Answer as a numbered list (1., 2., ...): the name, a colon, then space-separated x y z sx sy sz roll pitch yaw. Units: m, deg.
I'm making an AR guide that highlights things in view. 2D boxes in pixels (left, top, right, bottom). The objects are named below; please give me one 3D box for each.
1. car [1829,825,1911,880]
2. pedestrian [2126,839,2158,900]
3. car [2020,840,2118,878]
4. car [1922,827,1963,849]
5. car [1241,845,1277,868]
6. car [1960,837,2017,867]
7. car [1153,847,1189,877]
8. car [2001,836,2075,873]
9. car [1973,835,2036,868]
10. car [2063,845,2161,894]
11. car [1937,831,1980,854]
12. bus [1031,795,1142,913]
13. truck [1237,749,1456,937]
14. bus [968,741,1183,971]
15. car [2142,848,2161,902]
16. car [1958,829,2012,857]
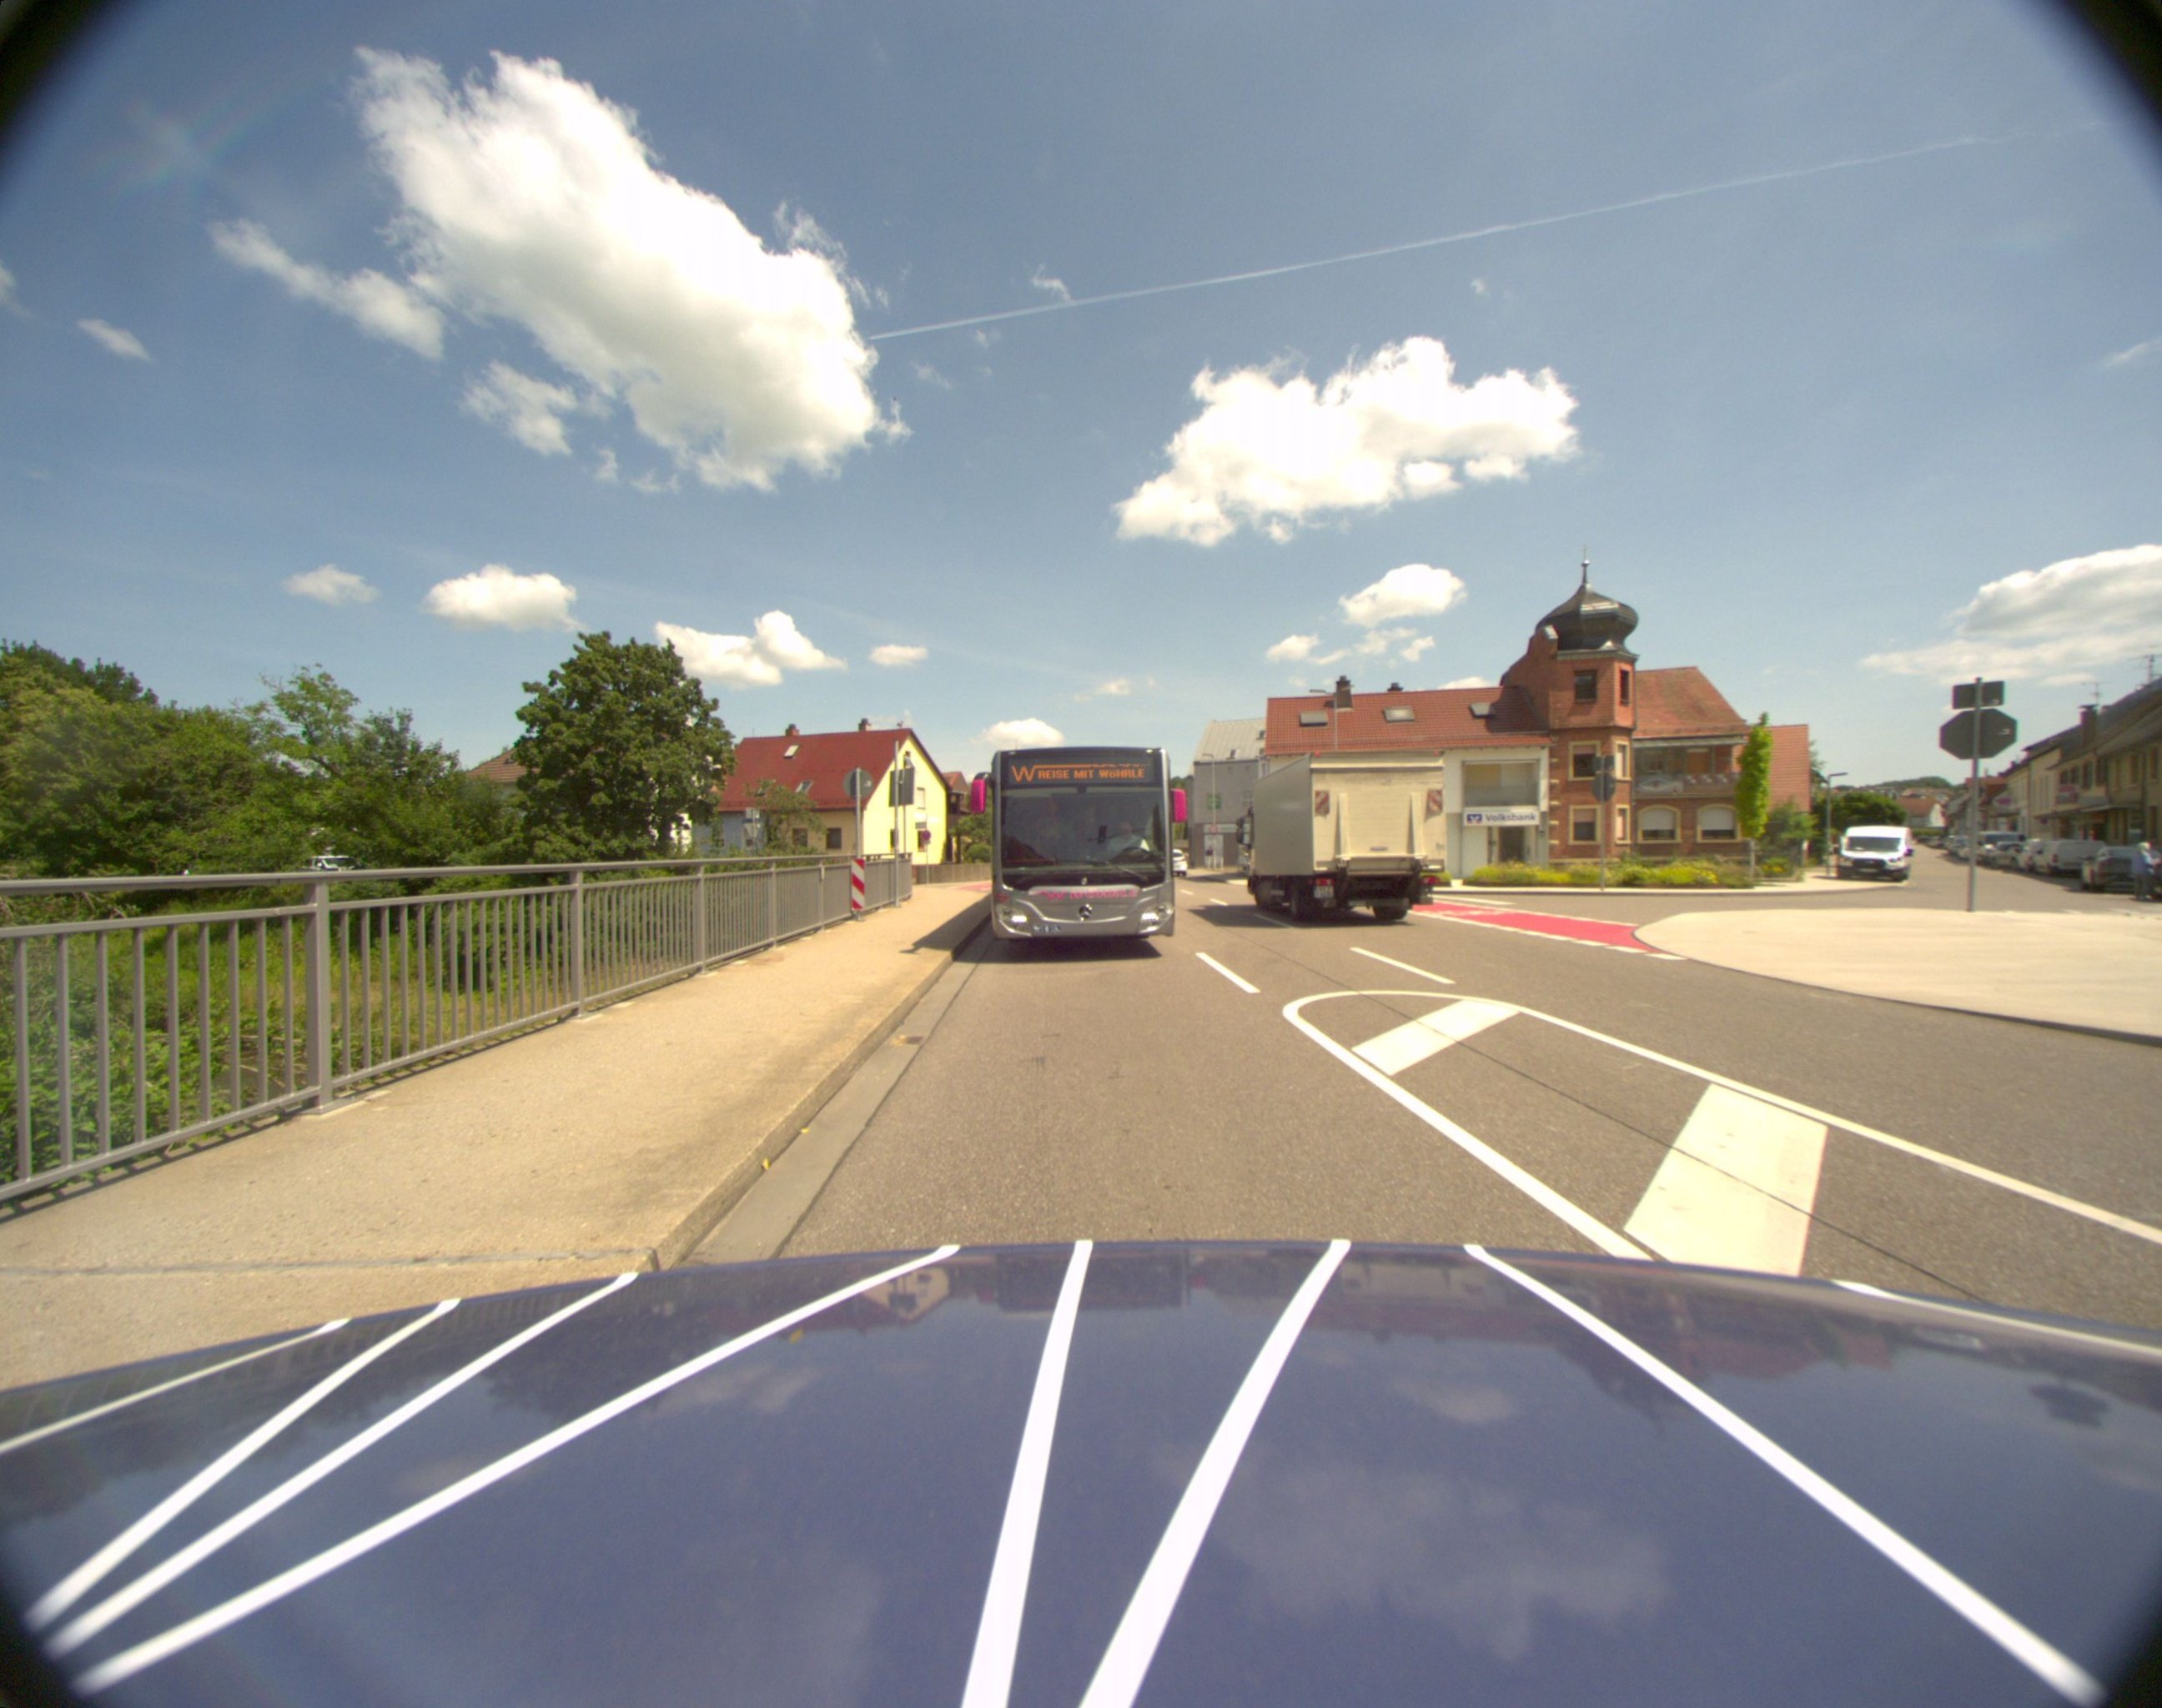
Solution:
1. car: 36.041 -0.103 34.662 5.122 2.332 2.167 -1 2 -39
2. pedestrian: 30.922 0.439 22.143 0.616 1.739 0.505 -2 1 -37
3. car: 47.659 0.167 36.749 2.063 1.718 4.008 2 2 41
4. car: 80.378 -1.472 70.924 1.994 2.002 4.008 2 2 42
5. car: 13.141 0.164 56.063 1.995 1.565 4.259 1 0 21
6. car: 58.287 -0.140 48.870 1.862 1.839 4.008 2 2 44
7. car: 5.466 0.444 46.395 1.819 1.640 4.000 -2 1 2
8. car: 51.193 -0.026 40.742 1.918 1.867 4.008 2 2 44
9. car: 54.896 -0.183 45.245 1.862 1.839 4.008 2 2 44
10. car: 35.722 0.482 26.217 4.242 1.538 1.782 -1 2 -43
11. car: 70.992 -0.928 61.519 1.862 1.839 4.008 2 2 44
12. bus: 0.211 0.097 23.824 2.755 2.949 9.283 1 -1 1
13. truck: 5.254 -0.227 16.274 2.508 3.217 6.039 -2 1 0
14. bus: 0.052 0.113 14.494 2.755 2.949 9.283 1 -1 2
15. car: 31.656 0.577 21.300 4.008 1.455 1.856 -1 1 -41
16. car: 61.751 -0.736 51.961 1.862 1.839 4.008 2 2 44
